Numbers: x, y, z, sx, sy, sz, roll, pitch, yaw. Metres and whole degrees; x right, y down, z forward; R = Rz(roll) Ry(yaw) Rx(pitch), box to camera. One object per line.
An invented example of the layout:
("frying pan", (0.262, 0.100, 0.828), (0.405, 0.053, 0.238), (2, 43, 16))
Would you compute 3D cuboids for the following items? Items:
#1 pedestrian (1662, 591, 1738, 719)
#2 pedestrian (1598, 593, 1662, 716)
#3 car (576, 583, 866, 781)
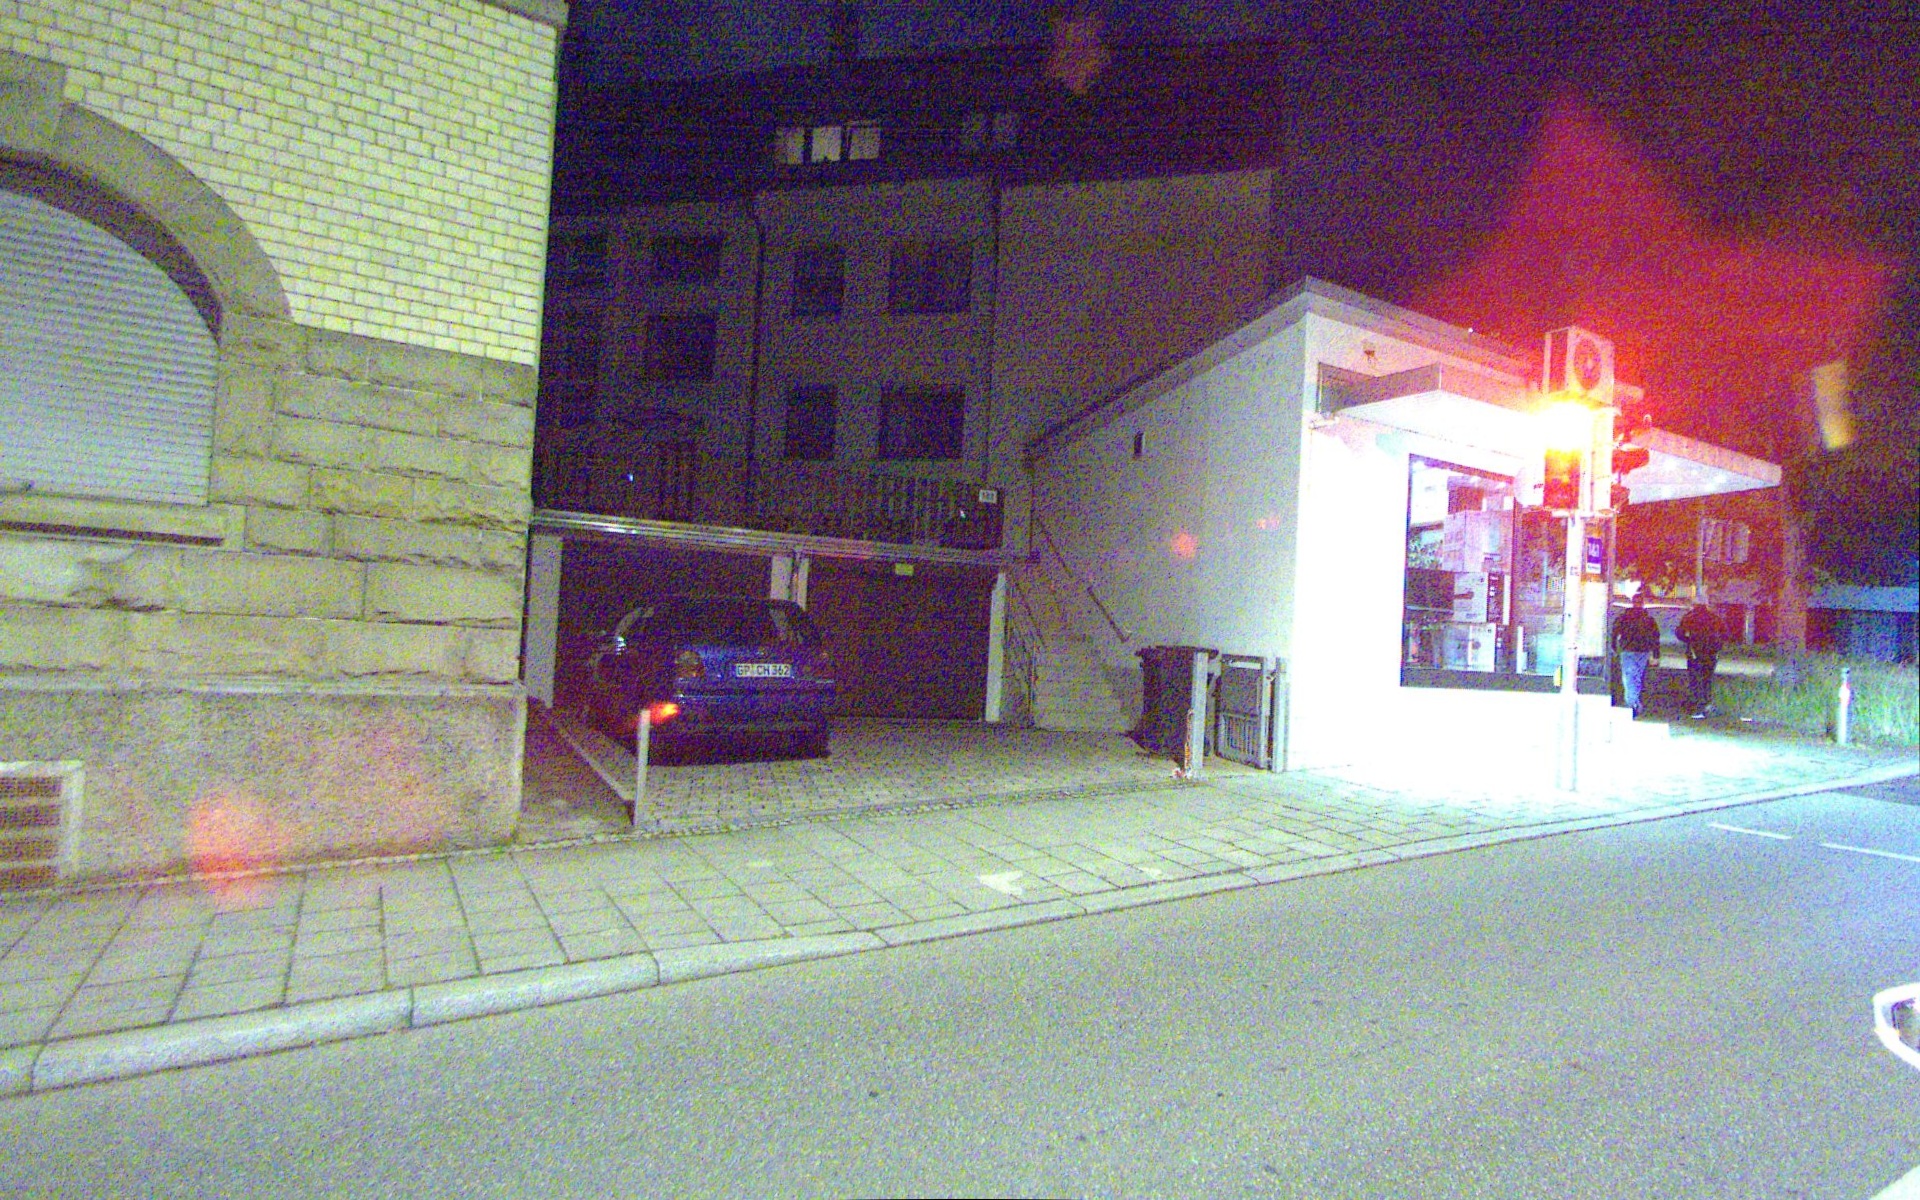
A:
("pedestrian", (10.832, 0.796, 14.704), (0.729, 1.801, 0.567), (2, 2, -30))
("pedestrian", (9.867, 0.788, 14.803), (0.537, 1.754, 0.567), (2, 0, -30))
("car", (-2.447, 0.618, 9.581), (1.700, 1.460, 3.631), (2, 0, -30))
